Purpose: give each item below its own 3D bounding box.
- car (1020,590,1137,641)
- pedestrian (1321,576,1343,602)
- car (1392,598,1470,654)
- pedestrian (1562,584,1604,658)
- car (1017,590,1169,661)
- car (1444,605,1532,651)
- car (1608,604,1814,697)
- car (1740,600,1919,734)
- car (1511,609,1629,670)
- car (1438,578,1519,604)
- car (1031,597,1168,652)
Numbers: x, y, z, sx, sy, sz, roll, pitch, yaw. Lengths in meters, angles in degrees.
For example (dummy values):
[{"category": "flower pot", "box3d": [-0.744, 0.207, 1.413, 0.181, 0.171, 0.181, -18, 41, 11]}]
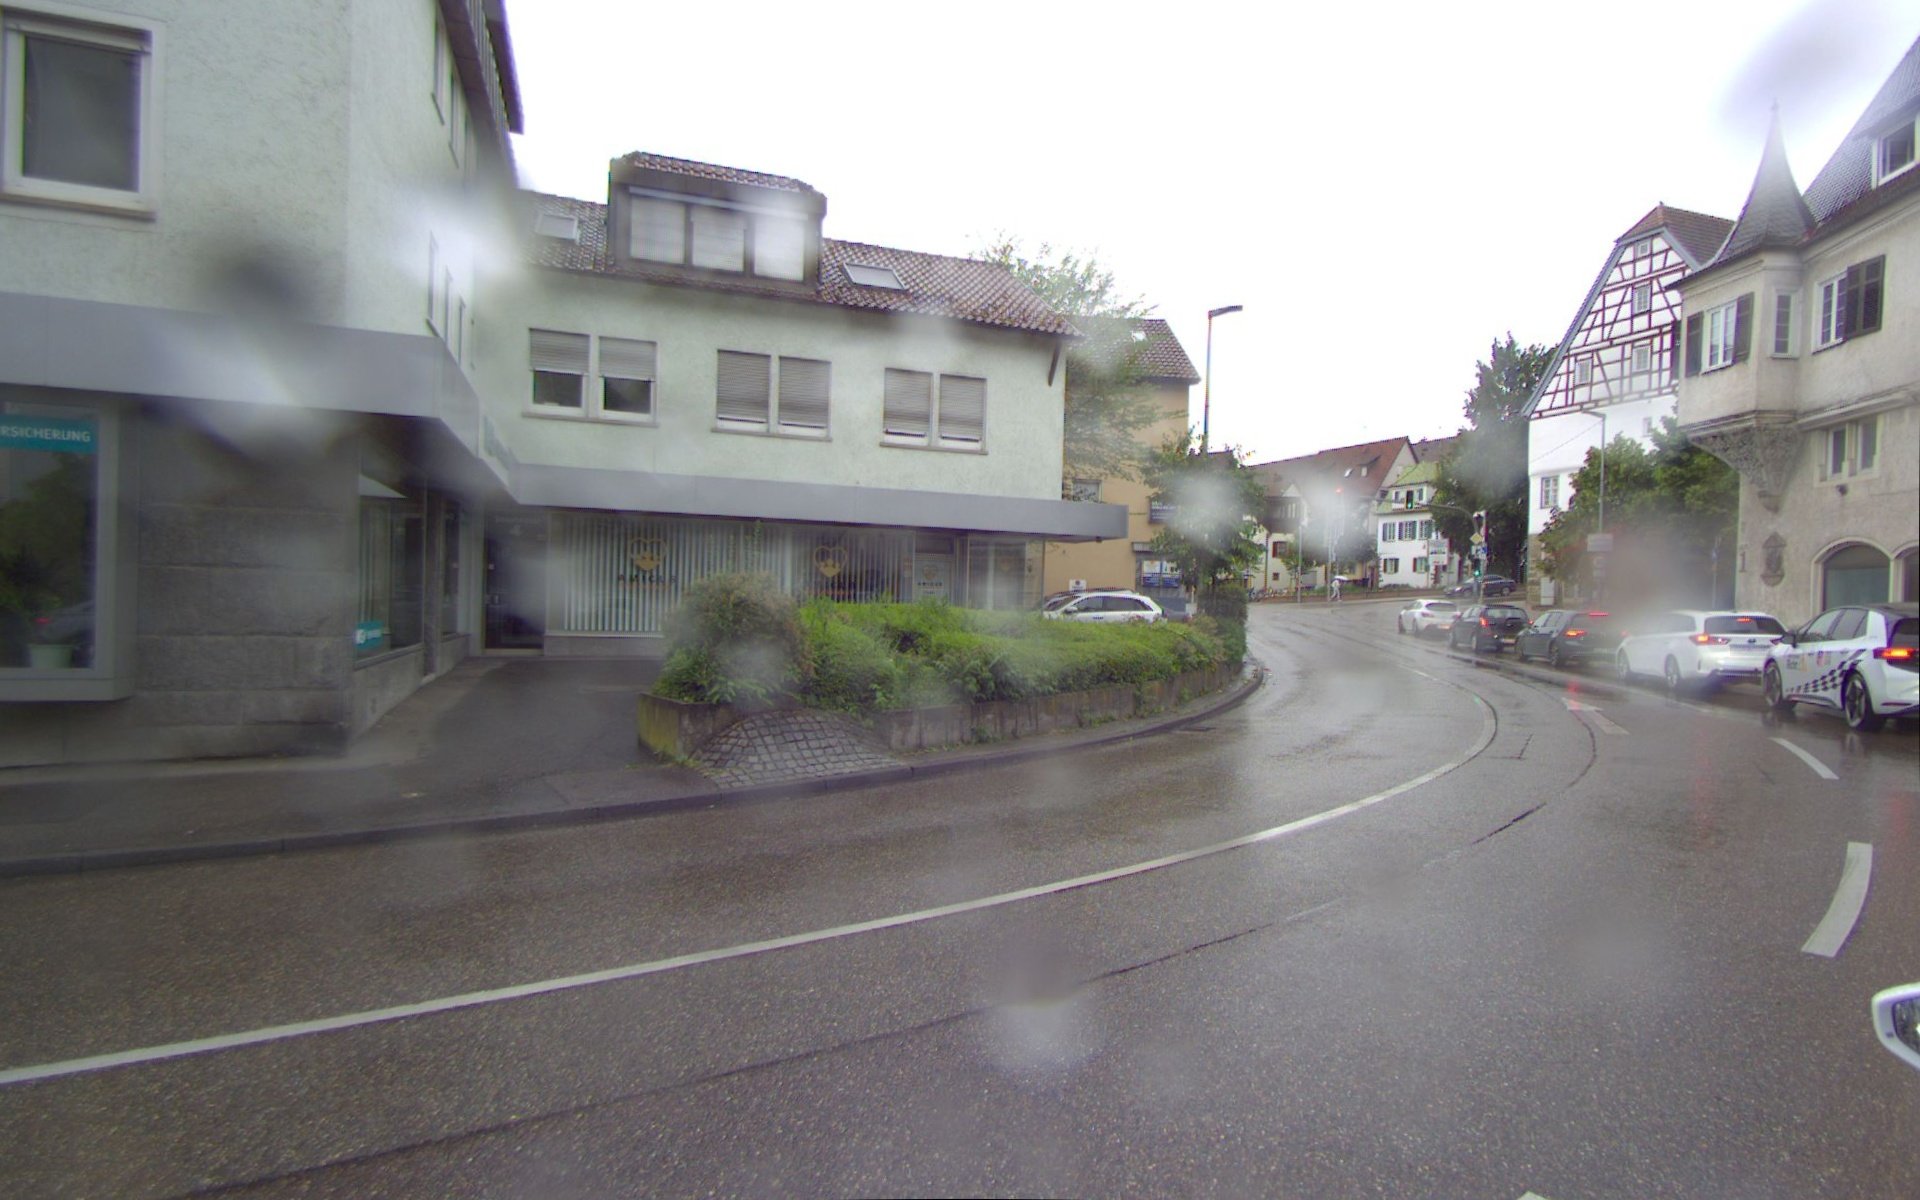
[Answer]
[{"category": "car", "box3d": [3.809, 0.492, 32.706, 3.472, 1.597, 1.710, 0, 1, -8]}, {"category": "pedestrian", "box3d": [25.304, -0.746, 68.316, 1.127, 1.765, 1.005, 1, 0, 0]}, {"category": "car", "box3d": [19.014, 0.996, 40.702, 1.939, 2.118, 3.963, 0, 1, 11]}, {"category": "pedestrian", "box3d": [20.425, 0.689, 32.956, 0.851, 2.357, 1.231, 1, 0, 18]}, {"category": "car", "box3d": [3.293, 0.625, 25.204, 3.472, 1.708, 1.710, 0, 1, -8]}, {"category": "car", "box3d": [16.990, 0.869, 32.483, 1.634, 1.330, 3.625, 0, 1, 13]}, {"category": "car", "box3d": [13.940, 0.852, 18.955, 1.755, 1.485, 4.165, 0, 1, 16]}, {"category": "car", "box3d": [12.130, 0.785, 13.302, 1.760, 1.537, 4.239, 0, -1, 22]}, {"category": "car", "box3d": [15.660, 0.975, 25.987, 1.493, 1.380, 3.769, 0, 1, 13]}, {"category": "car", "box3d": [33.530, -0.613, 64.981, 4.446, 1.409, 1.648, 1, 7, -8]}, {"category": "car", "box3d": [3.878, 0.678, 28.254, 3.472, 1.475, 1.710, 0, 1, -8]}]
